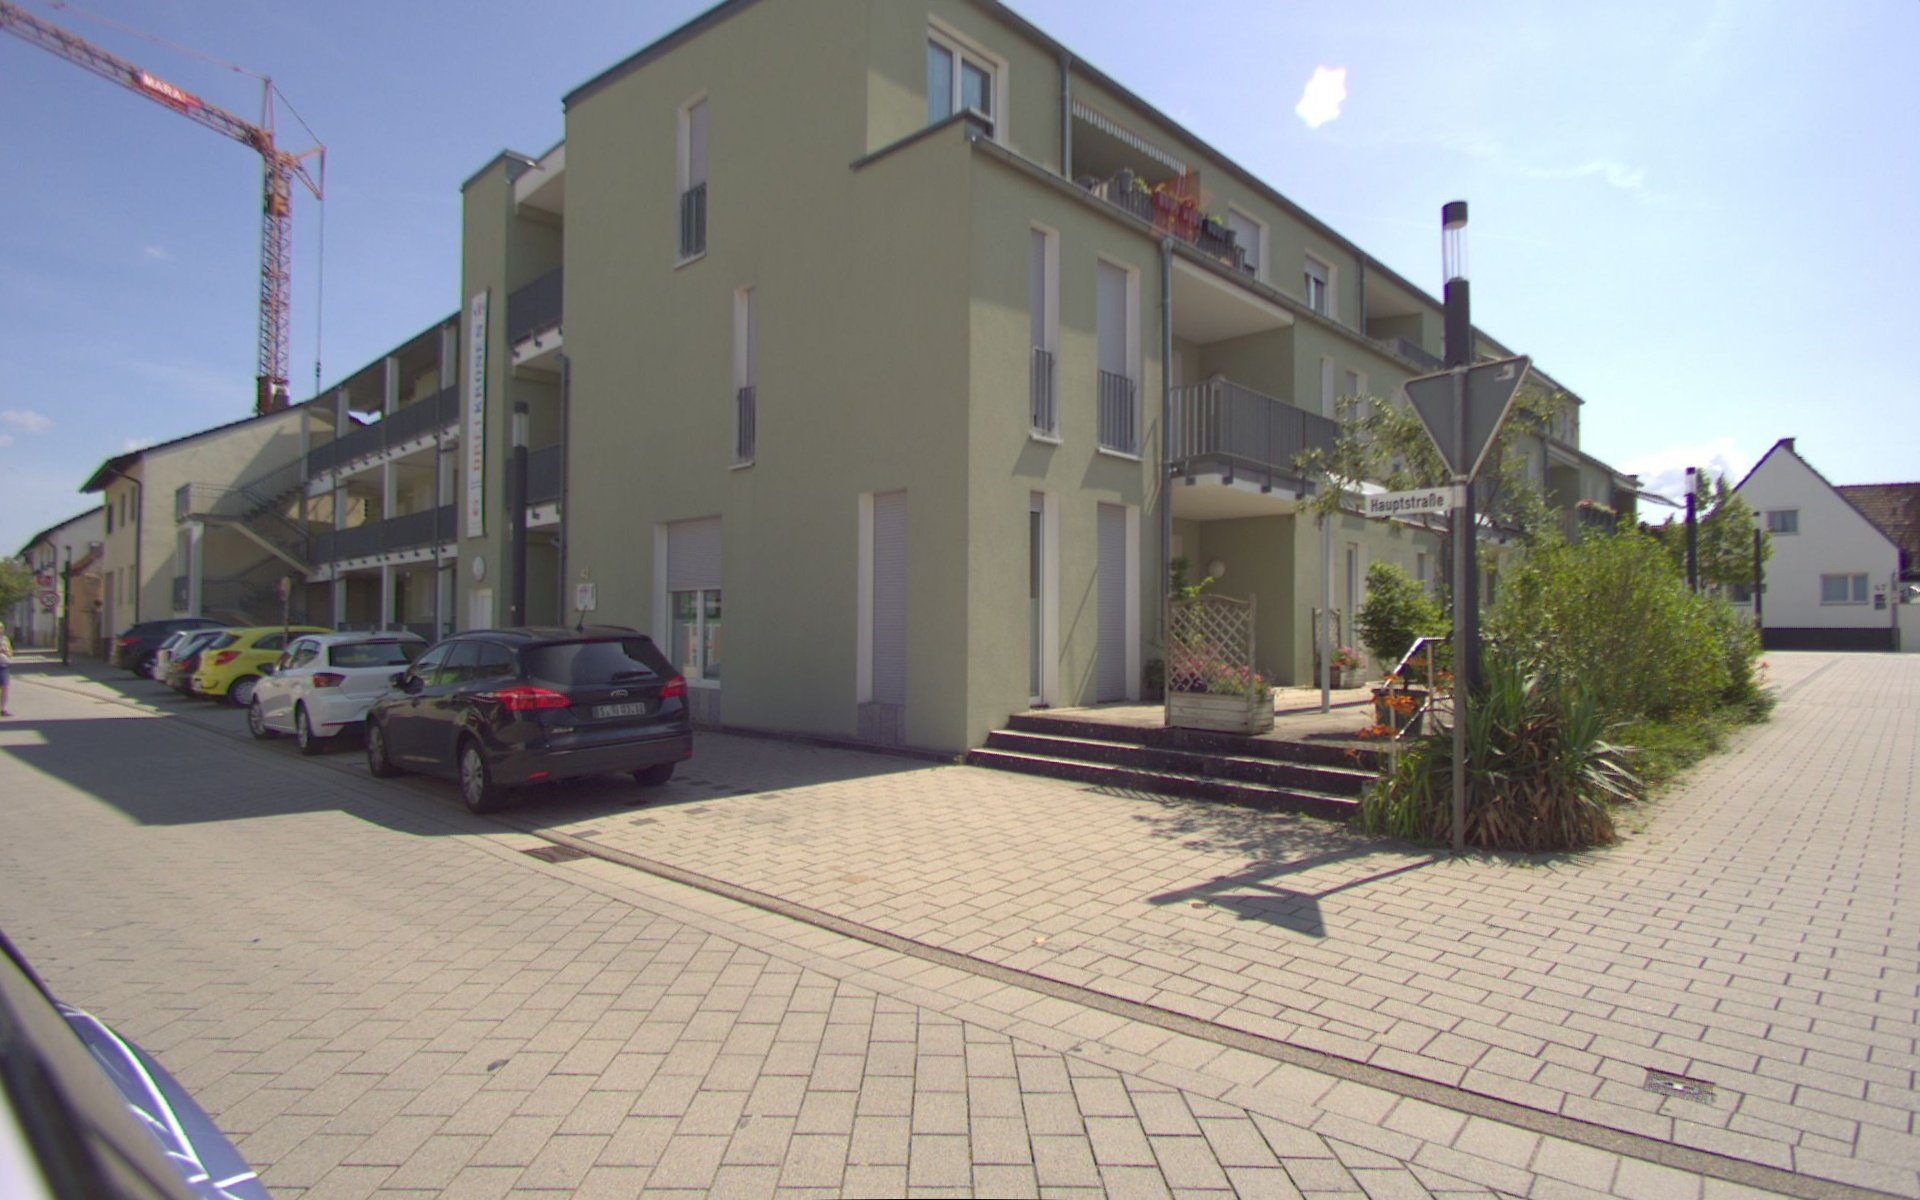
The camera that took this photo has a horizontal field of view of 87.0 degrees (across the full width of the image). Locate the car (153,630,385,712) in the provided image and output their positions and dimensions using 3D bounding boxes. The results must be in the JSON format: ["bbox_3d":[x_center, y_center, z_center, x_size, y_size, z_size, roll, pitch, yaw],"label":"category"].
[{"bbox_3d":[-15.077,1.474,22.228,1.691,1.452,3.943,-2,0,44],"label":"car"}]

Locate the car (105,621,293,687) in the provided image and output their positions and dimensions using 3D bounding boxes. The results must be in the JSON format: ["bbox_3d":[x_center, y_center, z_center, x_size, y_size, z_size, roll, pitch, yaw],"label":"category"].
[{"bbox_3d":[-22.127,1.501,29.513,1.785,1.671,4.171,-2,-1,45],"label":"car"}]

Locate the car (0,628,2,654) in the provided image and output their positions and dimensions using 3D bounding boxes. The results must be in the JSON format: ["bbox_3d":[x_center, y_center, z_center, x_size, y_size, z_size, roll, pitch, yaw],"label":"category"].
[{"bbox_3d":[-58.989,2.515,61.150,1.554,1.573,2.825,-1,0,-43],"label":"car"}]

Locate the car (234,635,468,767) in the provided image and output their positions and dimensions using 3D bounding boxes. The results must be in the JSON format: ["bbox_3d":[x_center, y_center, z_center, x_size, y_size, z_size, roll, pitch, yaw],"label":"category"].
[{"bbox_3d":[-8.164,1.210,13.415,3.879,1.421,1.738,-2,-1,44],"label":"car"}]

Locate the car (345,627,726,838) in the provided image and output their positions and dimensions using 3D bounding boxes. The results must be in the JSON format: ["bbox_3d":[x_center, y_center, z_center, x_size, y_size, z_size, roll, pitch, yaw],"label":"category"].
[{"bbox_3d":[-4.167,1.033,9.540,4.279,1.502,1.793,-2,-1,44],"label":"car"}]

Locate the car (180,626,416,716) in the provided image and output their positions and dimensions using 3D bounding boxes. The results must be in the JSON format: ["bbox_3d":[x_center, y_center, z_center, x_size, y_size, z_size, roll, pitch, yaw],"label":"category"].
[{"bbox_3d":[-13.285,1.360,20.462,1.671,1.537,3.655,-2,-1,39],"label":"car"}]

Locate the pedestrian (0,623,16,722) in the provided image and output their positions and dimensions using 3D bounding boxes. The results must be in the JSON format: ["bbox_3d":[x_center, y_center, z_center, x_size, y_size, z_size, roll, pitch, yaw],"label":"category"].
[{"bbox_3d":[-16.410,1.221,16.984,0.731,1.652,0.739,-1,-1,40],"label":"pedestrian"}]

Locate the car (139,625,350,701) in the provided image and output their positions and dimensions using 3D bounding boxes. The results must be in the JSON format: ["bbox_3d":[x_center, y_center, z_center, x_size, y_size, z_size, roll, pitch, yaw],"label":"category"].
[{"bbox_3d":[-16.962,1.436,24.098,3.856,1.514,1.752,-2,0,-45],"label":"car"}]
